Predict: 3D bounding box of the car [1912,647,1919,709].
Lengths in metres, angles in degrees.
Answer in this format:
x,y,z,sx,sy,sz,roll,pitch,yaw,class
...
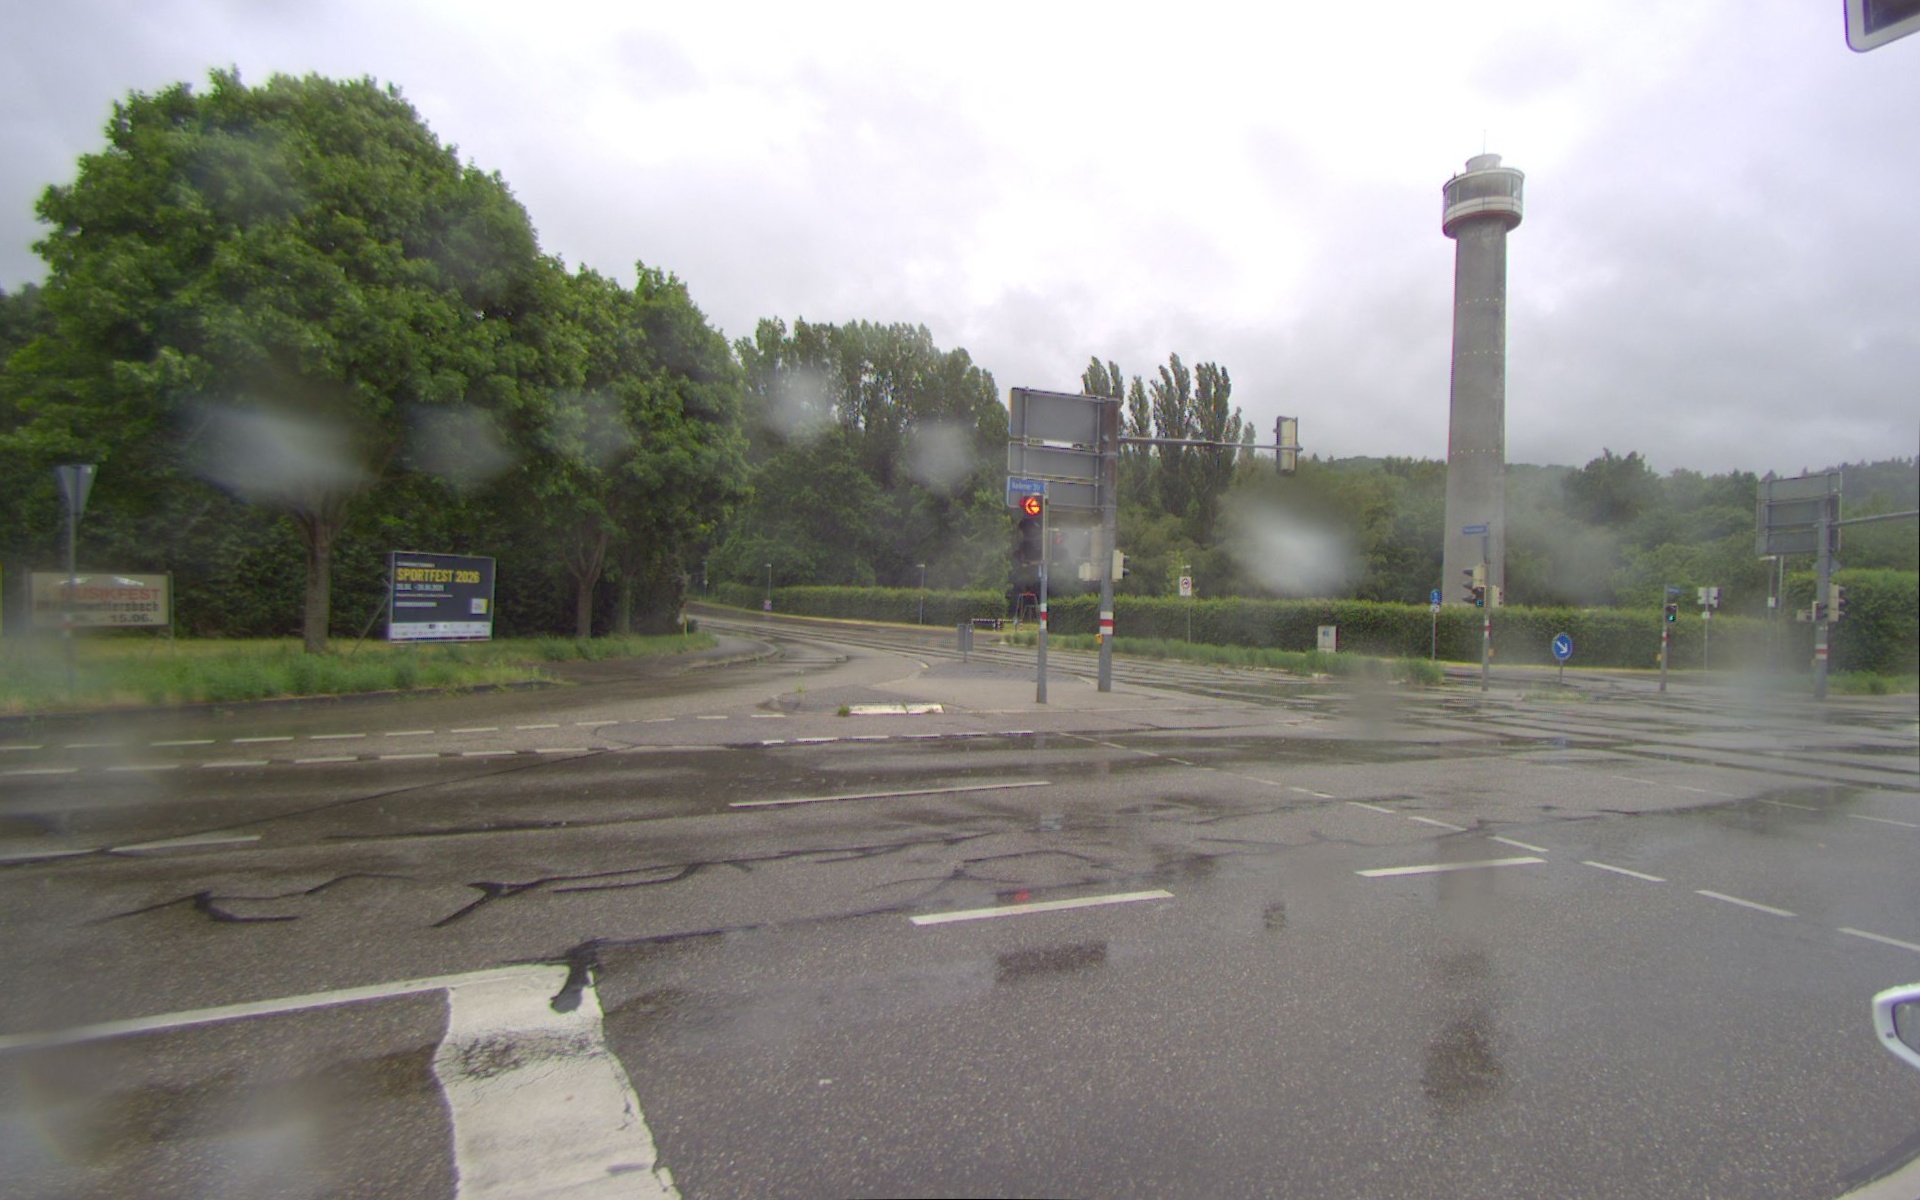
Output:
x,y,z,sx,sy,sz,roll,pitch,yaw,class
25.262,1.944,24.543,4.400,1.485,1.701,2,-1,-30,car
